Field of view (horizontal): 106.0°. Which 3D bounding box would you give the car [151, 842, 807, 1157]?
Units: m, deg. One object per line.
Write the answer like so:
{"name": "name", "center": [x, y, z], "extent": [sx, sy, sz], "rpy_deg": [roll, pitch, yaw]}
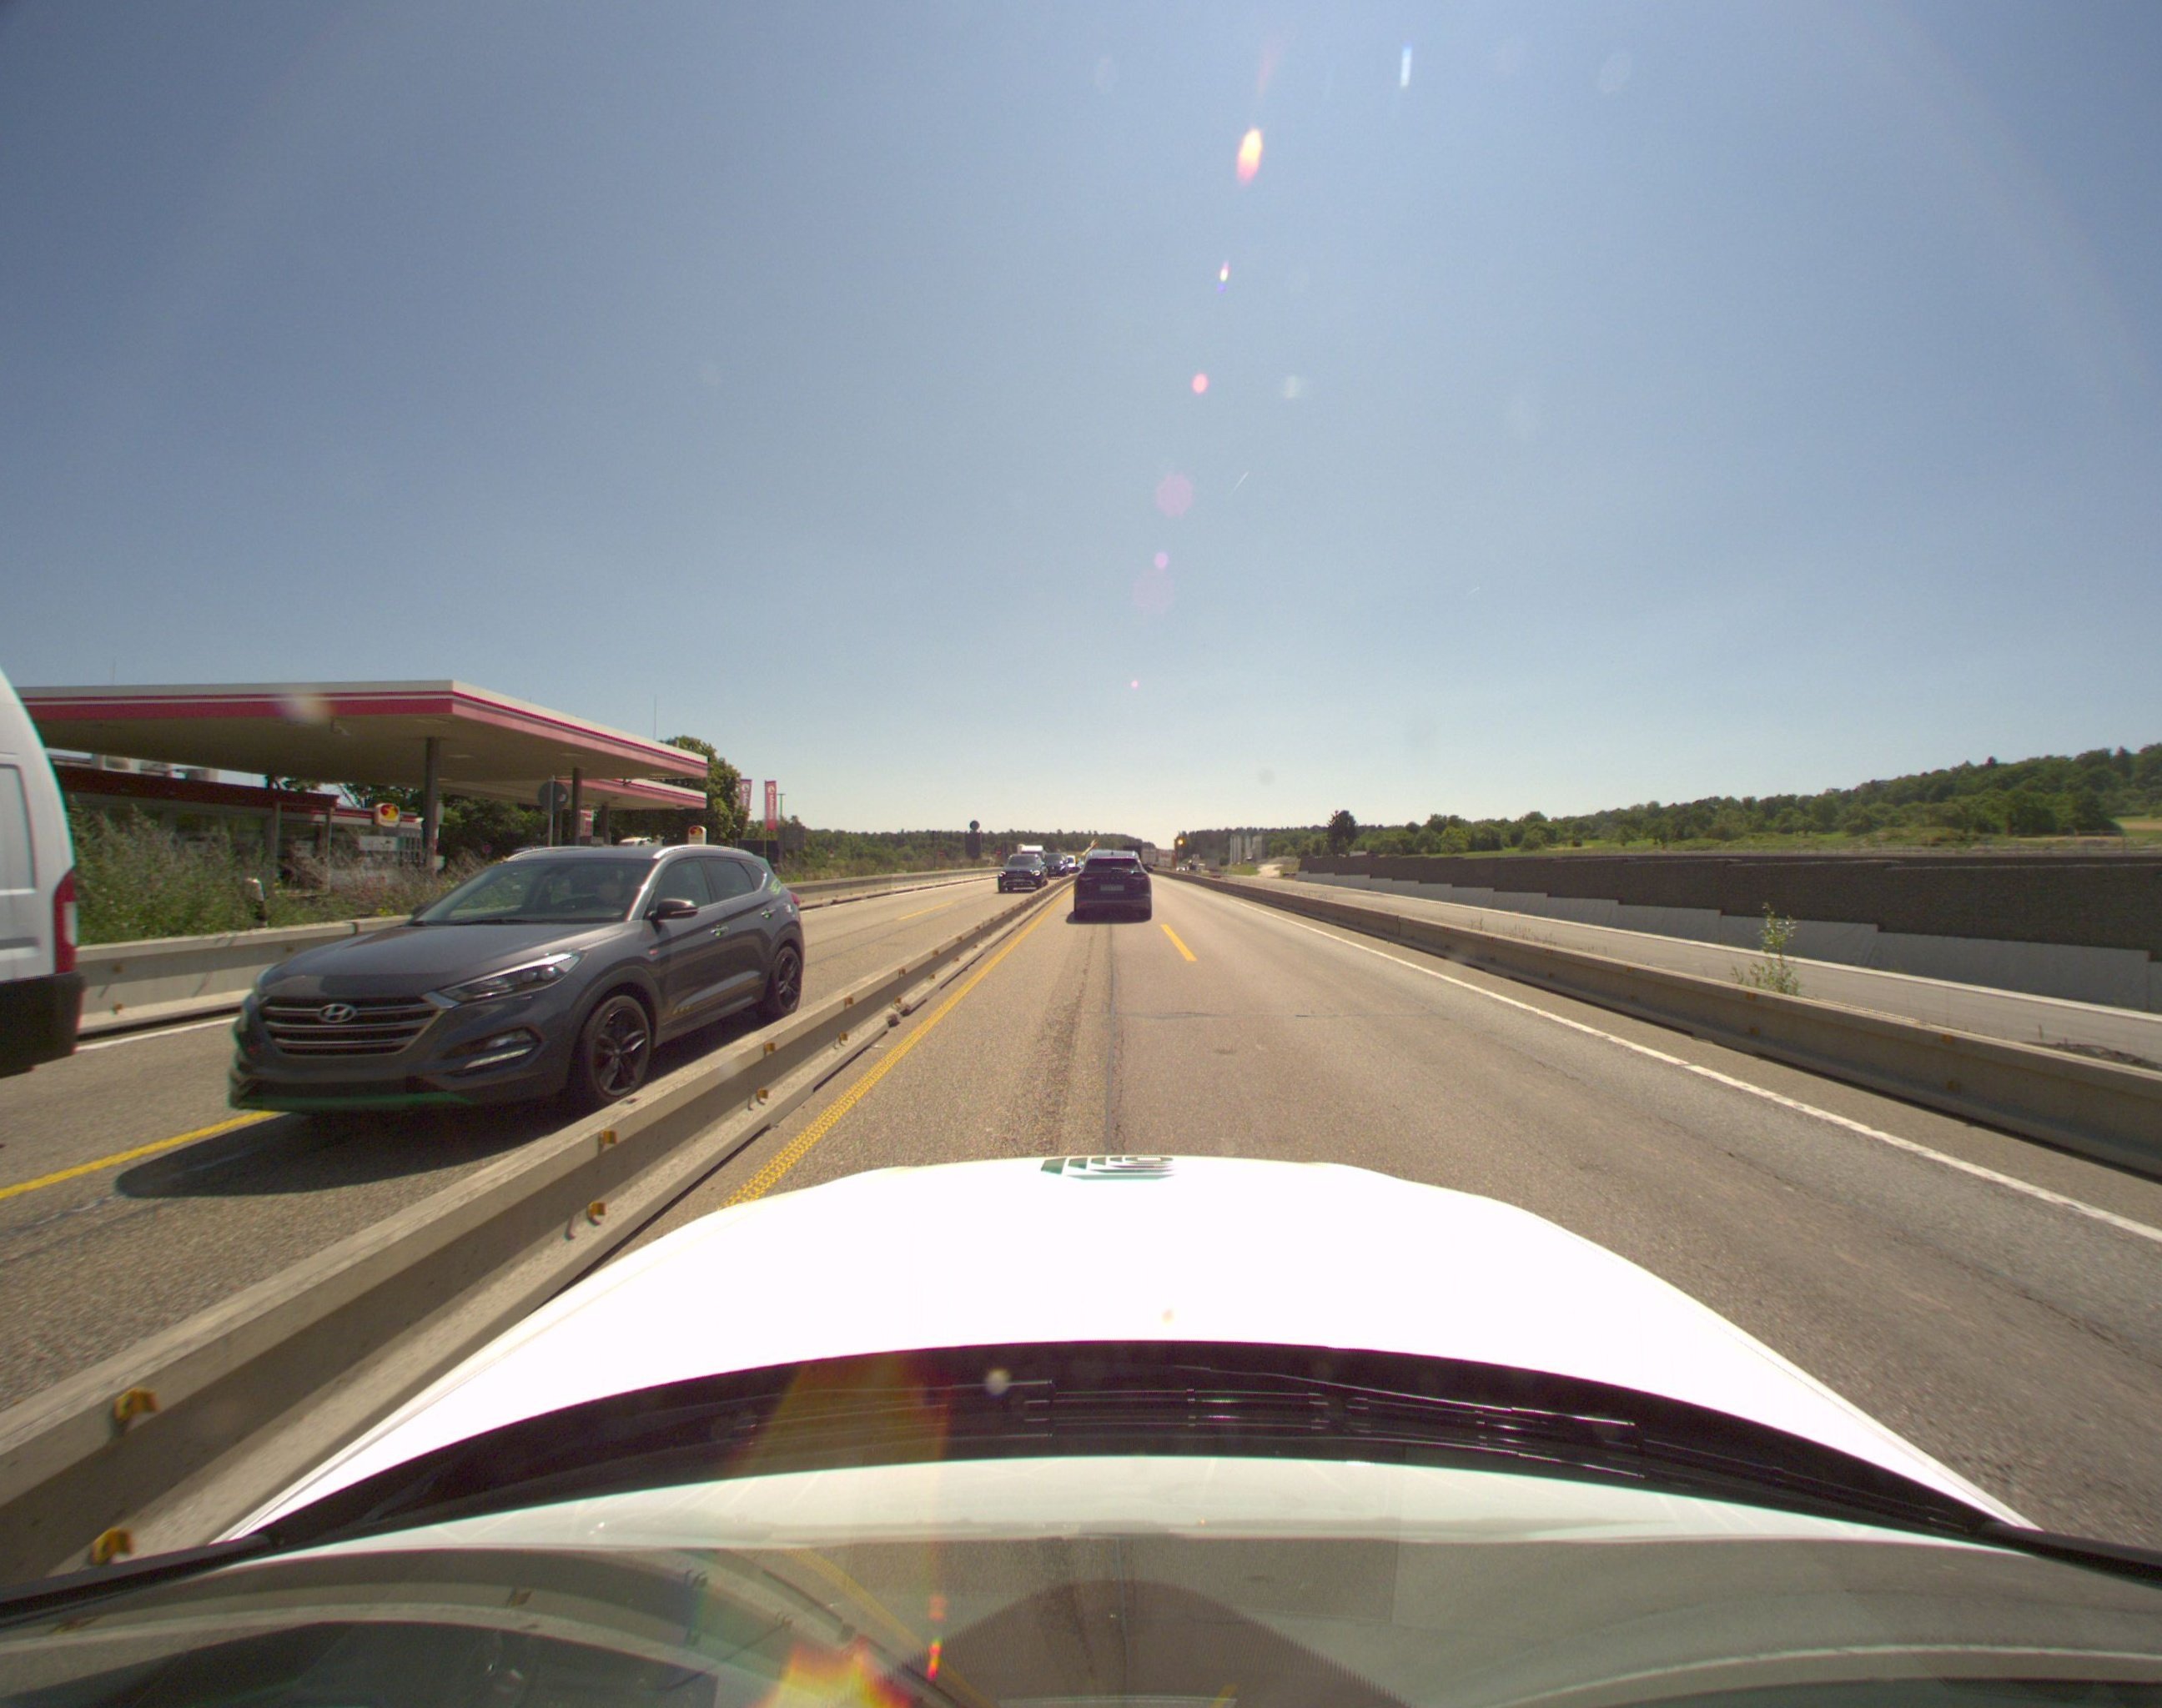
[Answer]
{"name": "car", "center": [-3.768, 0.744, 6.186], "extent": [1.931, 1.611, 4.001], "rpy_deg": [0, 0, 1]}

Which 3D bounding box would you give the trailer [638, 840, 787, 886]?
{"name": "trailer", "center": [-35.688, 0.849, 80.002], "extent": [3.120, 4.111, 14.250], "rpy_deg": [-1, -1, 29]}

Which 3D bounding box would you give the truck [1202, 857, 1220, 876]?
{"name": "truck", "center": [31.307, 3.065, 195.659], "extent": [3.454, 4.220, 10.407], "rpy_deg": [5, 0, 11]}

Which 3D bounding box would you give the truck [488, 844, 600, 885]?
{"name": "truck", "center": [-43.125, 0.835, 65.697], "extent": [2.794, 3.064, 7.161], "rpy_deg": [-1, -1, 24]}

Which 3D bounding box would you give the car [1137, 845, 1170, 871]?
{"name": "car", "center": [12.615, 0.782, 141.239], "extent": [3.409, 4.101, 9.238], "rpy_deg": [4, -1, 18]}

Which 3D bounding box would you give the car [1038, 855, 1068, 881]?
{"name": "car", "center": [-2.028, 0.968, 59.869], "extent": [1.900, 1.804, 5.083], "rpy_deg": [0, 0, 1]}

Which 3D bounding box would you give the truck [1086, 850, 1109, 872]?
{"name": "truck", "center": [3.154, 1.375, 156.264], "extent": [2.892, 4.129, 6.164], "rpy_deg": [0, -1, 16]}

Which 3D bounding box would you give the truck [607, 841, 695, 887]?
{"name": "truck", "center": [-38.922, 0.905, 73.990], "extent": [3.120, 3.985, 6.385], "rpy_deg": [-1, -1, 29]}

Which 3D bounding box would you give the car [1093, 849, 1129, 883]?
{"name": "car", "center": [1.707, 0.678, 47.535], "extent": [1.987, 1.844, 4.000], "rpy_deg": [1, -1, 1]}

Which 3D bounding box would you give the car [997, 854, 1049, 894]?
{"name": "car", "center": [-2.500, 0.821, 36.137], "extent": [1.849, 1.603, 4.737], "rpy_deg": [0, 0, 1]}

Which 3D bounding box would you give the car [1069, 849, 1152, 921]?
{"name": "car", "center": [0.745, 0.725, 20.125], "extent": [1.835, 1.582, 4.002], "rpy_deg": [-1, -1, 3]}

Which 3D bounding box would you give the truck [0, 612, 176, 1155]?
{"name": "truck", "center": [-6.717, 0.162, 1.728], "extent": [2.231, 2.786, 6.494], "rpy_deg": [0, 0, 1]}

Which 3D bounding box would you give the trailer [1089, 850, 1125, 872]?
{"name": "trailer", "center": [5.286, 1.435, 162.041], "extent": [2.889, 4.129, 13.986], "rpy_deg": [0, -1, 21]}

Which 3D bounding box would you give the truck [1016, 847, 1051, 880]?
{"name": "truck", "center": [-4.269, 0.852, 74.843], "extent": [2.470, 2.824, 8.132], "rpy_deg": [-1, 0, 2]}

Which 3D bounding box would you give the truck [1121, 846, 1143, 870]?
{"name": "truck", "center": [6.313, 0.469, 101.270], "extent": [2.662, 2.945, 5.624], "rpy_deg": [0, 0, 3]}
